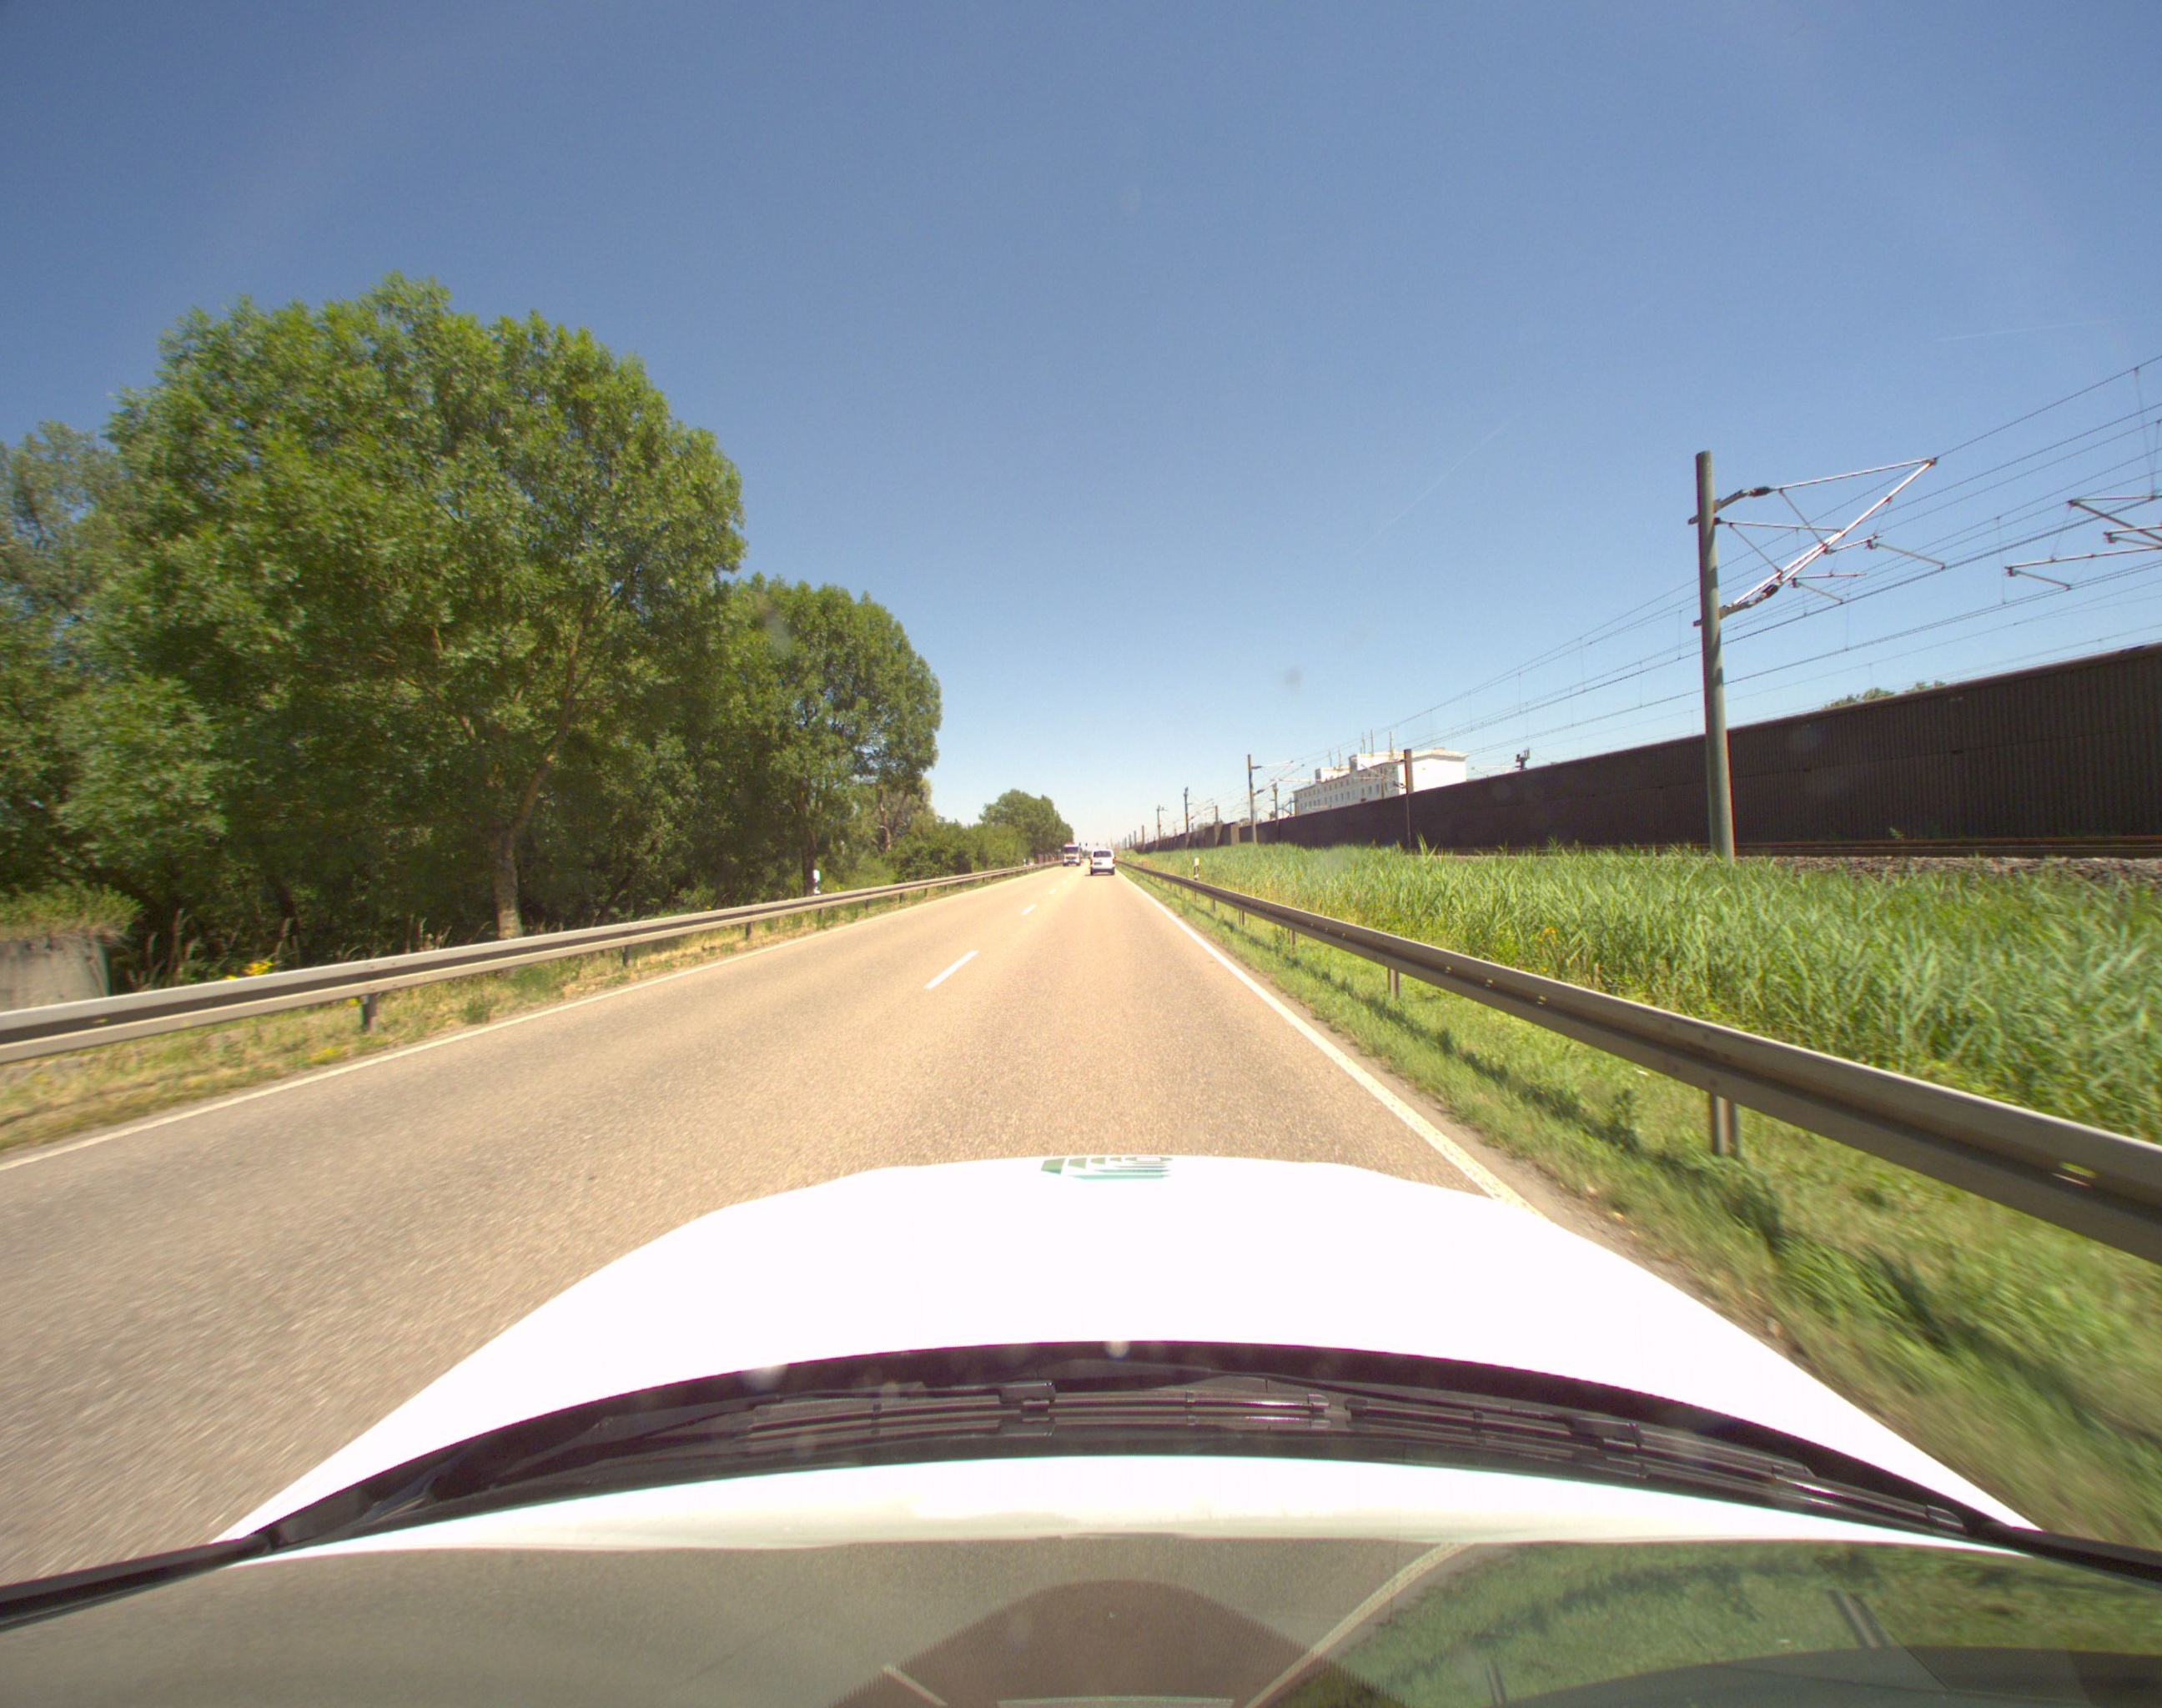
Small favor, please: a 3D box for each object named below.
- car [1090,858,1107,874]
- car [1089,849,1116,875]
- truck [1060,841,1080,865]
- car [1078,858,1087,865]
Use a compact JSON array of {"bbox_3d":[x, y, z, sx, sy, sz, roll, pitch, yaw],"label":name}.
[{"bbox_3d":[2.156,1.411,99.274,1.986,1.850,4.001,-1,0,1],"label":"car"},{"bbox_3d":[1.647,0.586,62.109,1.986,1.850,4.001,-1,0,1],"label":"car"},{"bbox_3d":[-1.637,-0.160,121.681,2.774,3.405,7.990,-1,0,1],"label":"truck"},{"bbox_3d":[0.298,1.555,170.390,1.783,1.421,4.000,-2,0,0],"label":"car"}]
